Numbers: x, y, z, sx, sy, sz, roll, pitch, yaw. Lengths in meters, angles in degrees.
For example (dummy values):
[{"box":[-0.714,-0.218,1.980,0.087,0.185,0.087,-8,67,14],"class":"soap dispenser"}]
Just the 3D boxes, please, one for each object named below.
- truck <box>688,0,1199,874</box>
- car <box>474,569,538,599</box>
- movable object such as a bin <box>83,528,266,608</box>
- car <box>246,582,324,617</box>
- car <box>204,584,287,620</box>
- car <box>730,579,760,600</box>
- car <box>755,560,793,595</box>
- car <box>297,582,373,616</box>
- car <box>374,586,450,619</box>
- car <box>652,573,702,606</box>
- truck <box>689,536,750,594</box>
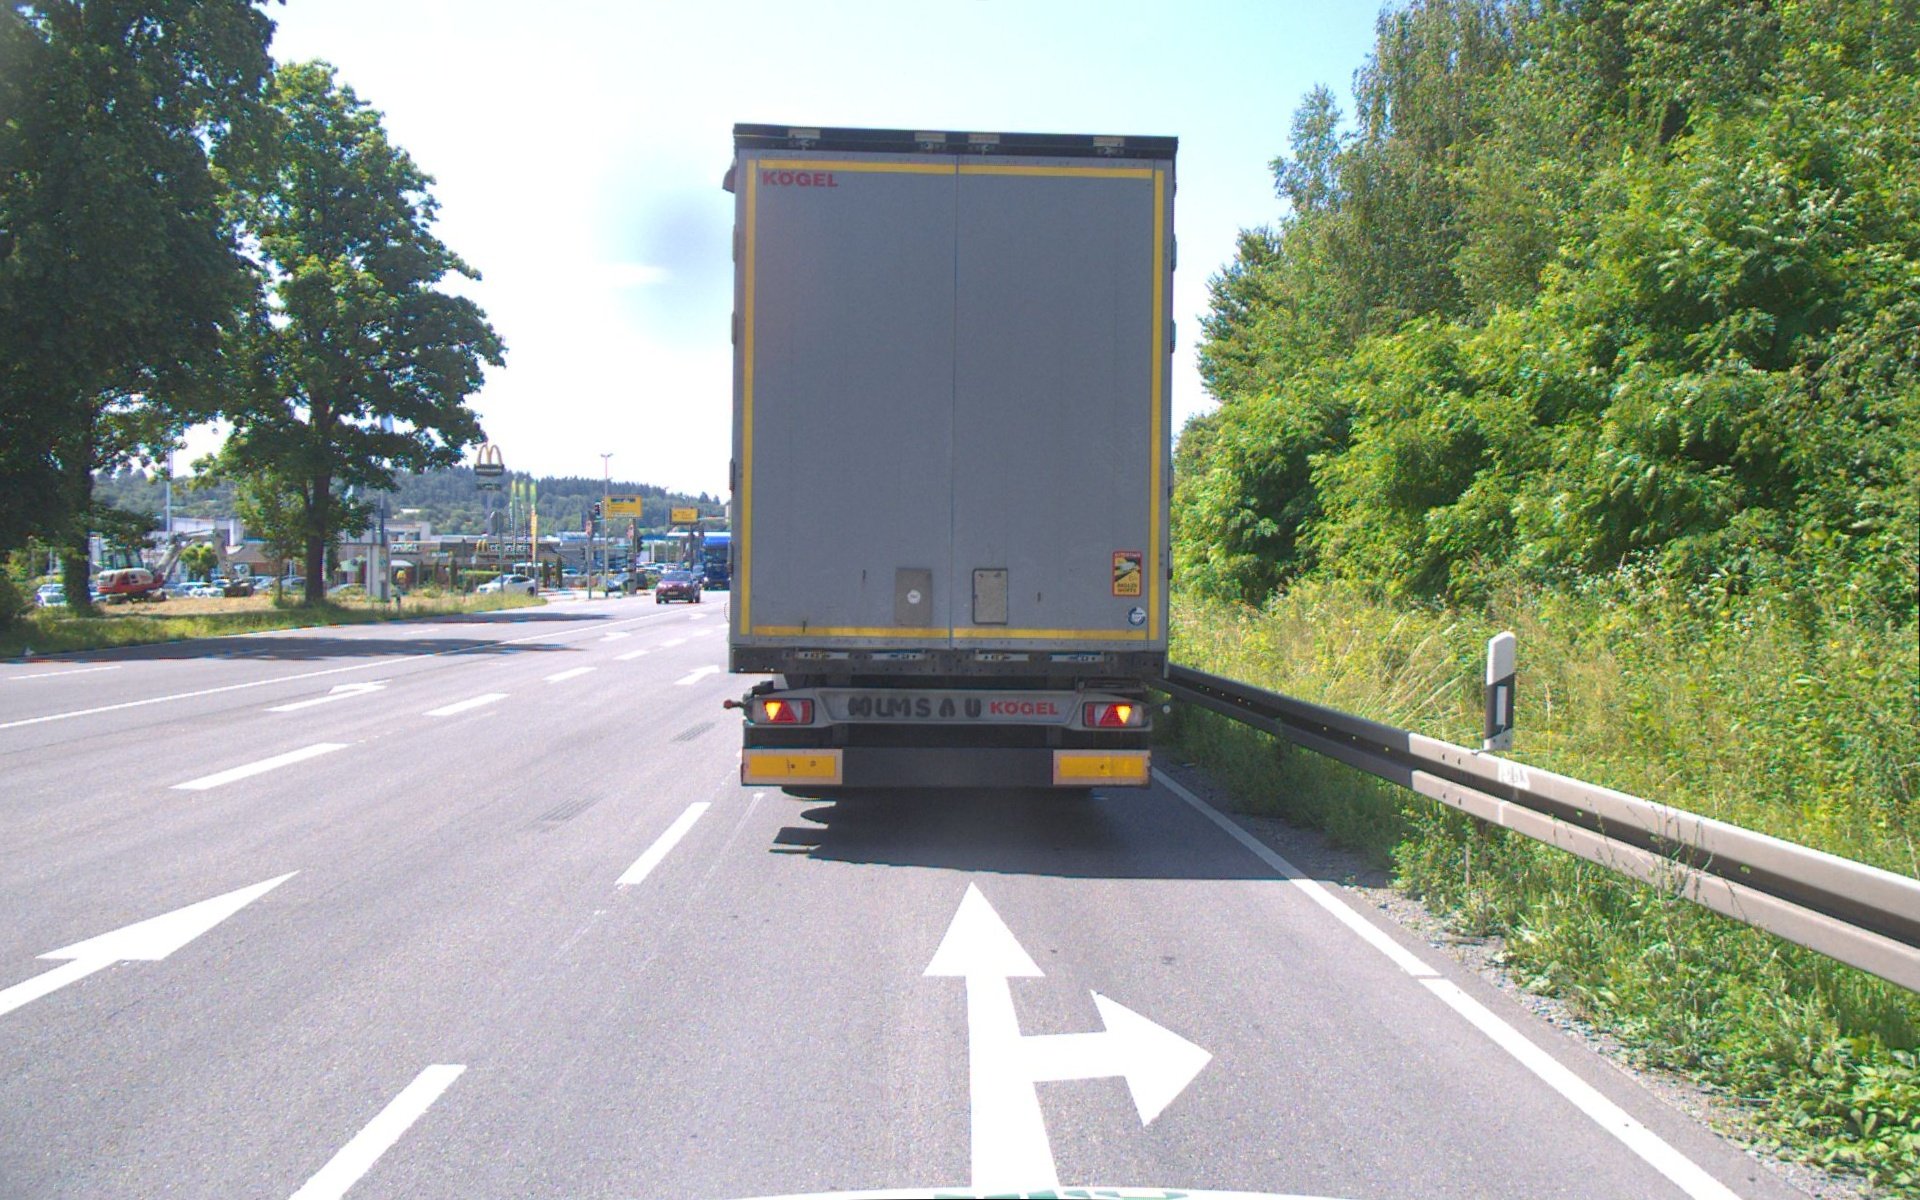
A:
[{"box":[-0.230,-0.879,17.378,2.700,4.720,16.651,1,0,-1],"class":"truck"},{"box":[-31.459,-1.136,114.709,1.959,2.049,3.988,1,1,34],"class":"car"},{"box":[-34.824,-1.426,73.492,2.994,3.356,6.761,1,1,38],"class":"movable object such as a bin"},{"box":[-33.835,-0.037,82.883,3.919,1.646,1.833,1,1,36],"class":"car"},{"box":[-35.000,0.064,80.976,3.919,1.680,1.993,1,1,36],"class":"car"},{"box":[-14.770,-0.720,113.890,1.731,1.410,3.998,1,0,-3],"class":"car"},{"box":[-11.360,-1.349,101.030,1.953,2.049,3.999,1,1,-2],"class":"car"},{"box":[-32.159,-0.065,85.079,3.919,1.646,1.833,1,1,36],"class":"car"},{"box":[-28.691,0.121,86.598,3.919,1.646,1.833,1,1,36],"class":"car"},{"box":[-13.803,-0.515,80.825,1.865,1.535,3.763,1,0,-2],"class":"car"},{"box":[-18.798,-2.711,130.201,2.908,4.249,16.568,0,1,-2],"class":"truck"}]
